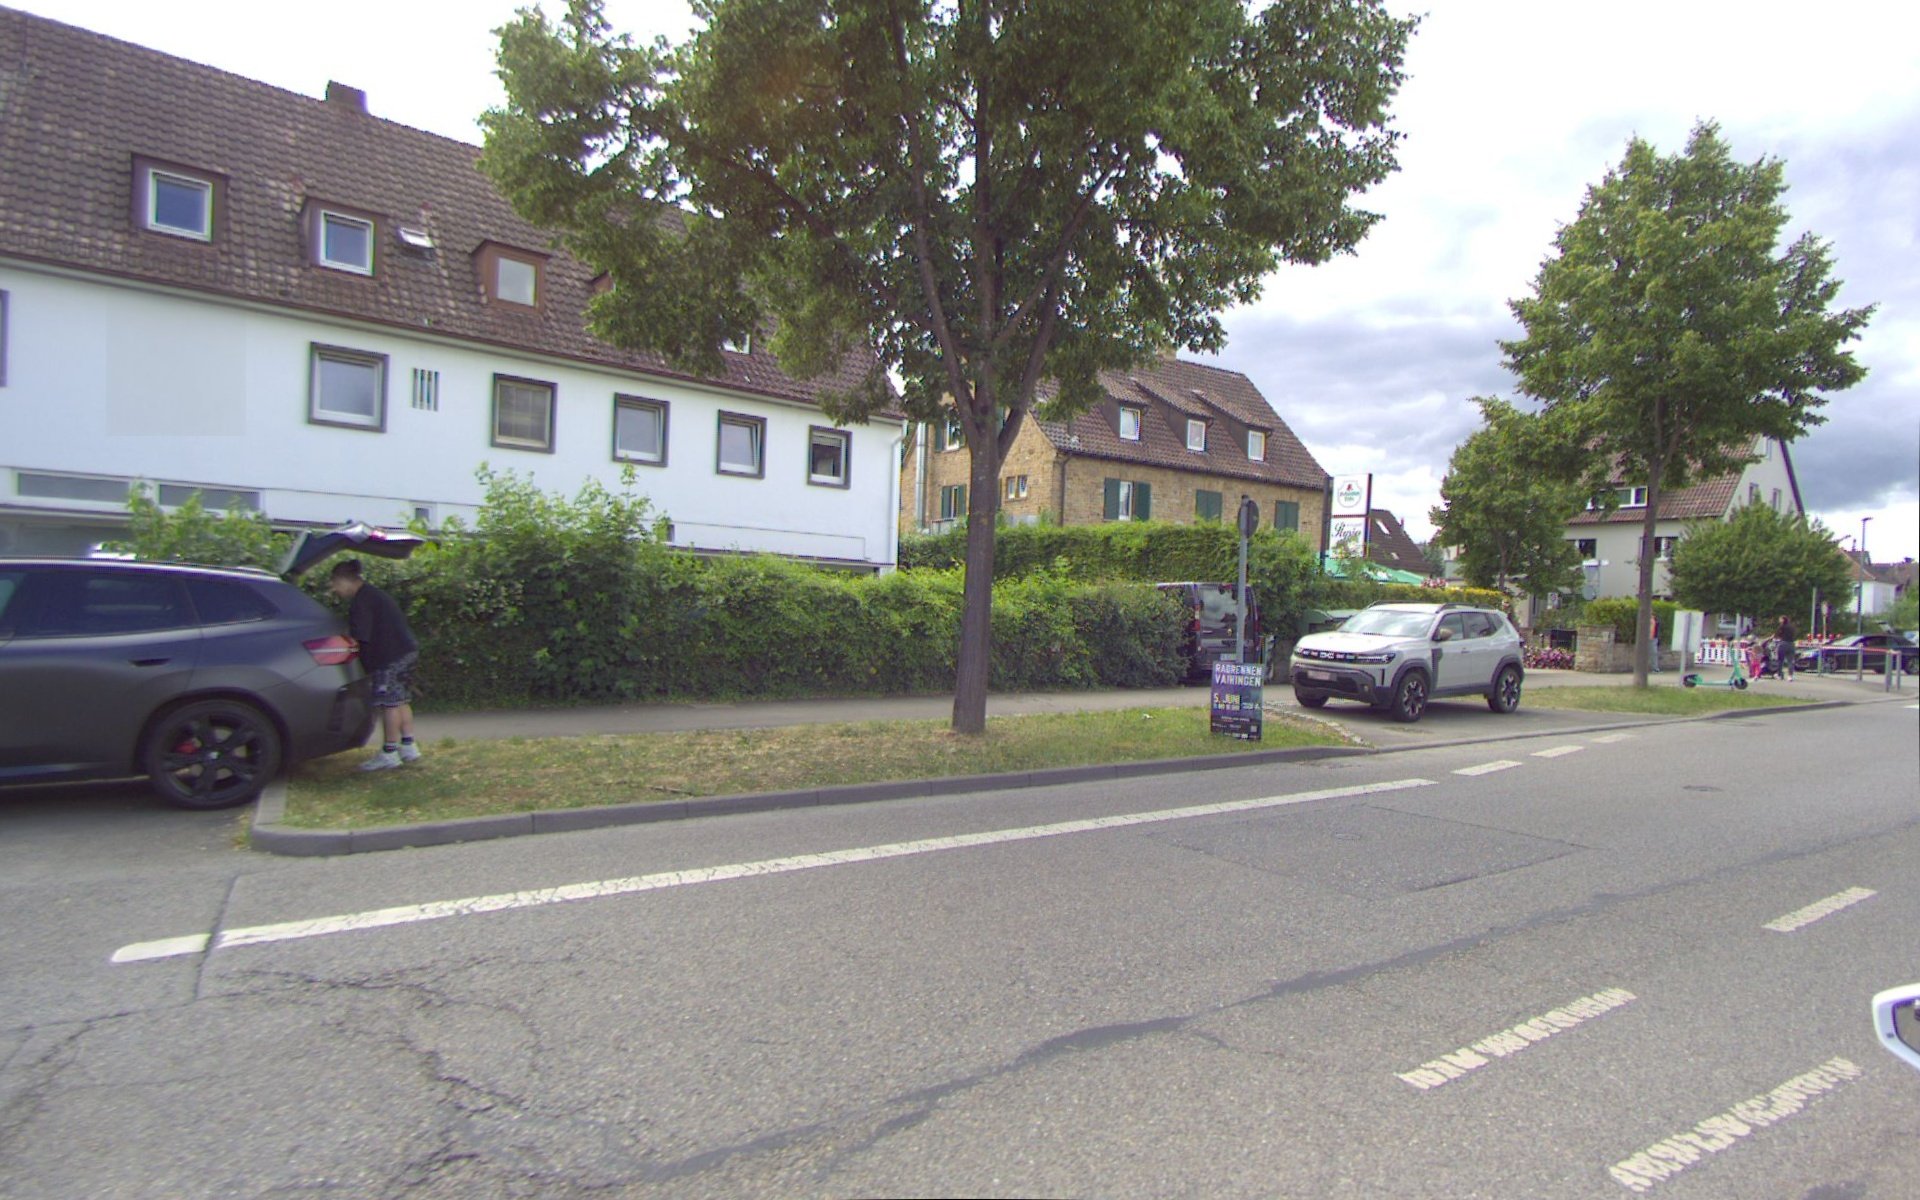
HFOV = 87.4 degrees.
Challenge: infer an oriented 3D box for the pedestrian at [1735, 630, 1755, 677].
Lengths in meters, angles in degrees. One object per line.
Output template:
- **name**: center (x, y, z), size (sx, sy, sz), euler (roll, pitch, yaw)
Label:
- **pedestrian**: center (21.439, 1.459, 27.444), size (0.336, 1.261, 0.354), euler (1, 0, 25)

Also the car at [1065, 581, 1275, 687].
- **car**: center (4.125, 0.617, 20.354), size (1.978, 1.917, 3.966), euler (2, 0, -31)

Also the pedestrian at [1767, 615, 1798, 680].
- **pedestrian**: center (21.833, 1.245, 26.660), size (0.474, 1.692, 0.515), euler (1, 0, 24)

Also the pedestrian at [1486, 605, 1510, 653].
- **pedestrian**: center (17.876, 0.968, 33.396), size (0.639, 1.560, 0.509), euler (1, 0, 25)

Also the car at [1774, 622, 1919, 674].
- **car**: center (31.333, 1.670, 35.554), size (3.548, 1.656, 1.574), euler (1, 0, 12)

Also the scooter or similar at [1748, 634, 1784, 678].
- **scooter or similar**: center (21.990, 1.519, 27.407), size (0.399, 1.110, 0.970), euler (4, 2, 20)

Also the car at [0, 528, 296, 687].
- **car**: center (-10.285, 0.039, 13.081), size (1.841, 1.714, 3.980), euler (-2, 1, -21)

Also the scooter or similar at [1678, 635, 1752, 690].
- **scooter or similar**: center (16.914, 1.393, 22.513), size (1.264, 1.154, 0.347), euler (1, 0, 27)

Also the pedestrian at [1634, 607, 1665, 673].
- **pedestrian**: center (19.319, 1.100, 28.140), size (0.551, 1.808, 0.541), euler (1, 0, 18)

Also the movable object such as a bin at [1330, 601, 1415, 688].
- **movable object such as a bin**: center (8.527, 0.905, 20.807), size (0.988, 1.673, 1.198), euler (2, 2, -34)

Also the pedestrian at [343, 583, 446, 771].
- **pedestrian**: center (-4.557, 0.601, 8.119), size (0.486, 1.455, 0.554), euler (1, 0, 0)

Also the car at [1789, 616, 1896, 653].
- **car**: center (42.806, 1.662, 48.807), size (1.580, 1.632, 3.574), euler (1, 0, -28)

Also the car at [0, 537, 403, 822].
- **car**: center (-6.431, 0.467, 6.778), size (4.519, 1.748, 1.713), euler (2, 0, -35)

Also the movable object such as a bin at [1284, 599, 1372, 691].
- **movable object such as a bin**: center (7.224, 0.861, 19.753), size (0.988, 1.673, 1.198), euler (2, 2, -34)

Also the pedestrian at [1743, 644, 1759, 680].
- **pedestrian**: center (20.525, 1.616, 26.049), size (0.234, 0.906, 0.259), euler (3, 1, 26)

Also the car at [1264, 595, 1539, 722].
- **car**: center (6.817, 0.831, 15.383), size (4.249, 1.675, 1.849), euler (2, 0, -34)
